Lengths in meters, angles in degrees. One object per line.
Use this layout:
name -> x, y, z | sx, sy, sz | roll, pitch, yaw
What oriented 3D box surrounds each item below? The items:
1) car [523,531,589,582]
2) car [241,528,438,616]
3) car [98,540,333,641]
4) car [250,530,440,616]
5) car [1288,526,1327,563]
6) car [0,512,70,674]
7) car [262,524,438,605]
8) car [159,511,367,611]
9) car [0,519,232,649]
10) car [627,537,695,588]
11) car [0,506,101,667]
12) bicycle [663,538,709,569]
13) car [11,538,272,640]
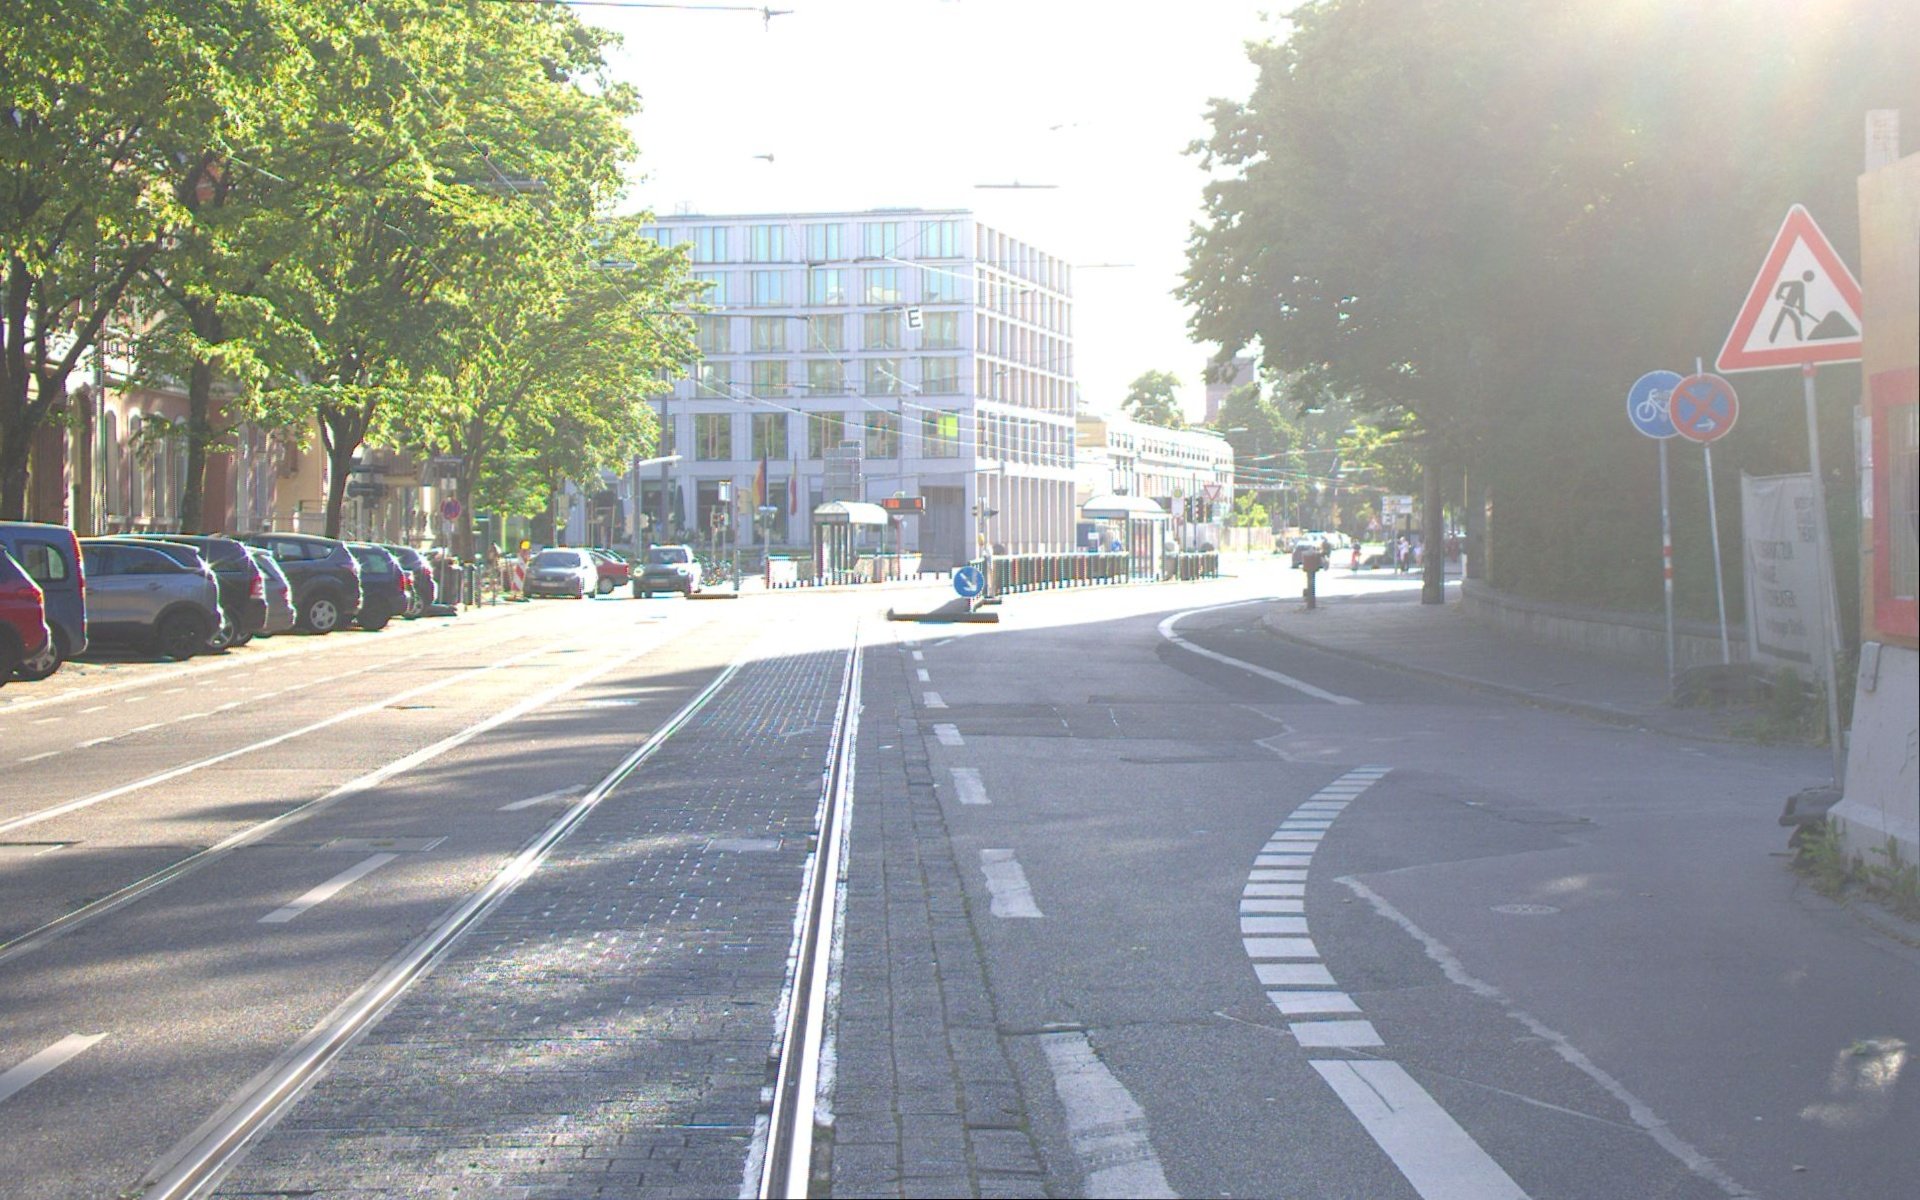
car -> -12.074, -1.300, 102.827 | 1.572, 1.485, 4.000 | 0, 1, -1
car -> -11.323, -0.522, 62.724 | 3.270, 1.580, 1.470 | -1, 1, -23
car -> -11.301, -0.155, 52.176 | 3.270, 1.479, 1.470 | -1, 1, -23
car -> -11.578, -0.518, 64.762 | 3.270, 1.580, 1.470 | -1, 1, -23
car -> 19.370, -3.096, 191.484 | 1.994, 2.007, 3.999 | 0, 1, 9
car -> -11.719, -0.075, 36.457 | 4.159, 1.715, 1.584 | 0, 1, -28
car -> -12.421, -0.731, 70.013 | 3.270, 1.579, 1.470 | -1, 1, -23
car -> -12.013, -0.684, 59.217 | 3.270, 1.692, 1.470 | -1, 1, -23
car -> -11.642, -0.223, 46.224 | 3.373, 1.692, 1.405 | 0, 1, -29
car -> -9.251, -1.175, 106.463 | 1.558, 1.525, 4.000 | 0, 1, 3
car -> -12.044, -0.181, 39.519 | 3.828, 1.826, 1.732 | 1, 0, -31
bicycle -> -10.893, -1.837, 136.684 | 1.793, 1.219, 0.599 | 0, 1, -9
car -> -11.700, -0.169, 49.165 | 3.373, 1.415, 1.405 | 0, 1, -29
